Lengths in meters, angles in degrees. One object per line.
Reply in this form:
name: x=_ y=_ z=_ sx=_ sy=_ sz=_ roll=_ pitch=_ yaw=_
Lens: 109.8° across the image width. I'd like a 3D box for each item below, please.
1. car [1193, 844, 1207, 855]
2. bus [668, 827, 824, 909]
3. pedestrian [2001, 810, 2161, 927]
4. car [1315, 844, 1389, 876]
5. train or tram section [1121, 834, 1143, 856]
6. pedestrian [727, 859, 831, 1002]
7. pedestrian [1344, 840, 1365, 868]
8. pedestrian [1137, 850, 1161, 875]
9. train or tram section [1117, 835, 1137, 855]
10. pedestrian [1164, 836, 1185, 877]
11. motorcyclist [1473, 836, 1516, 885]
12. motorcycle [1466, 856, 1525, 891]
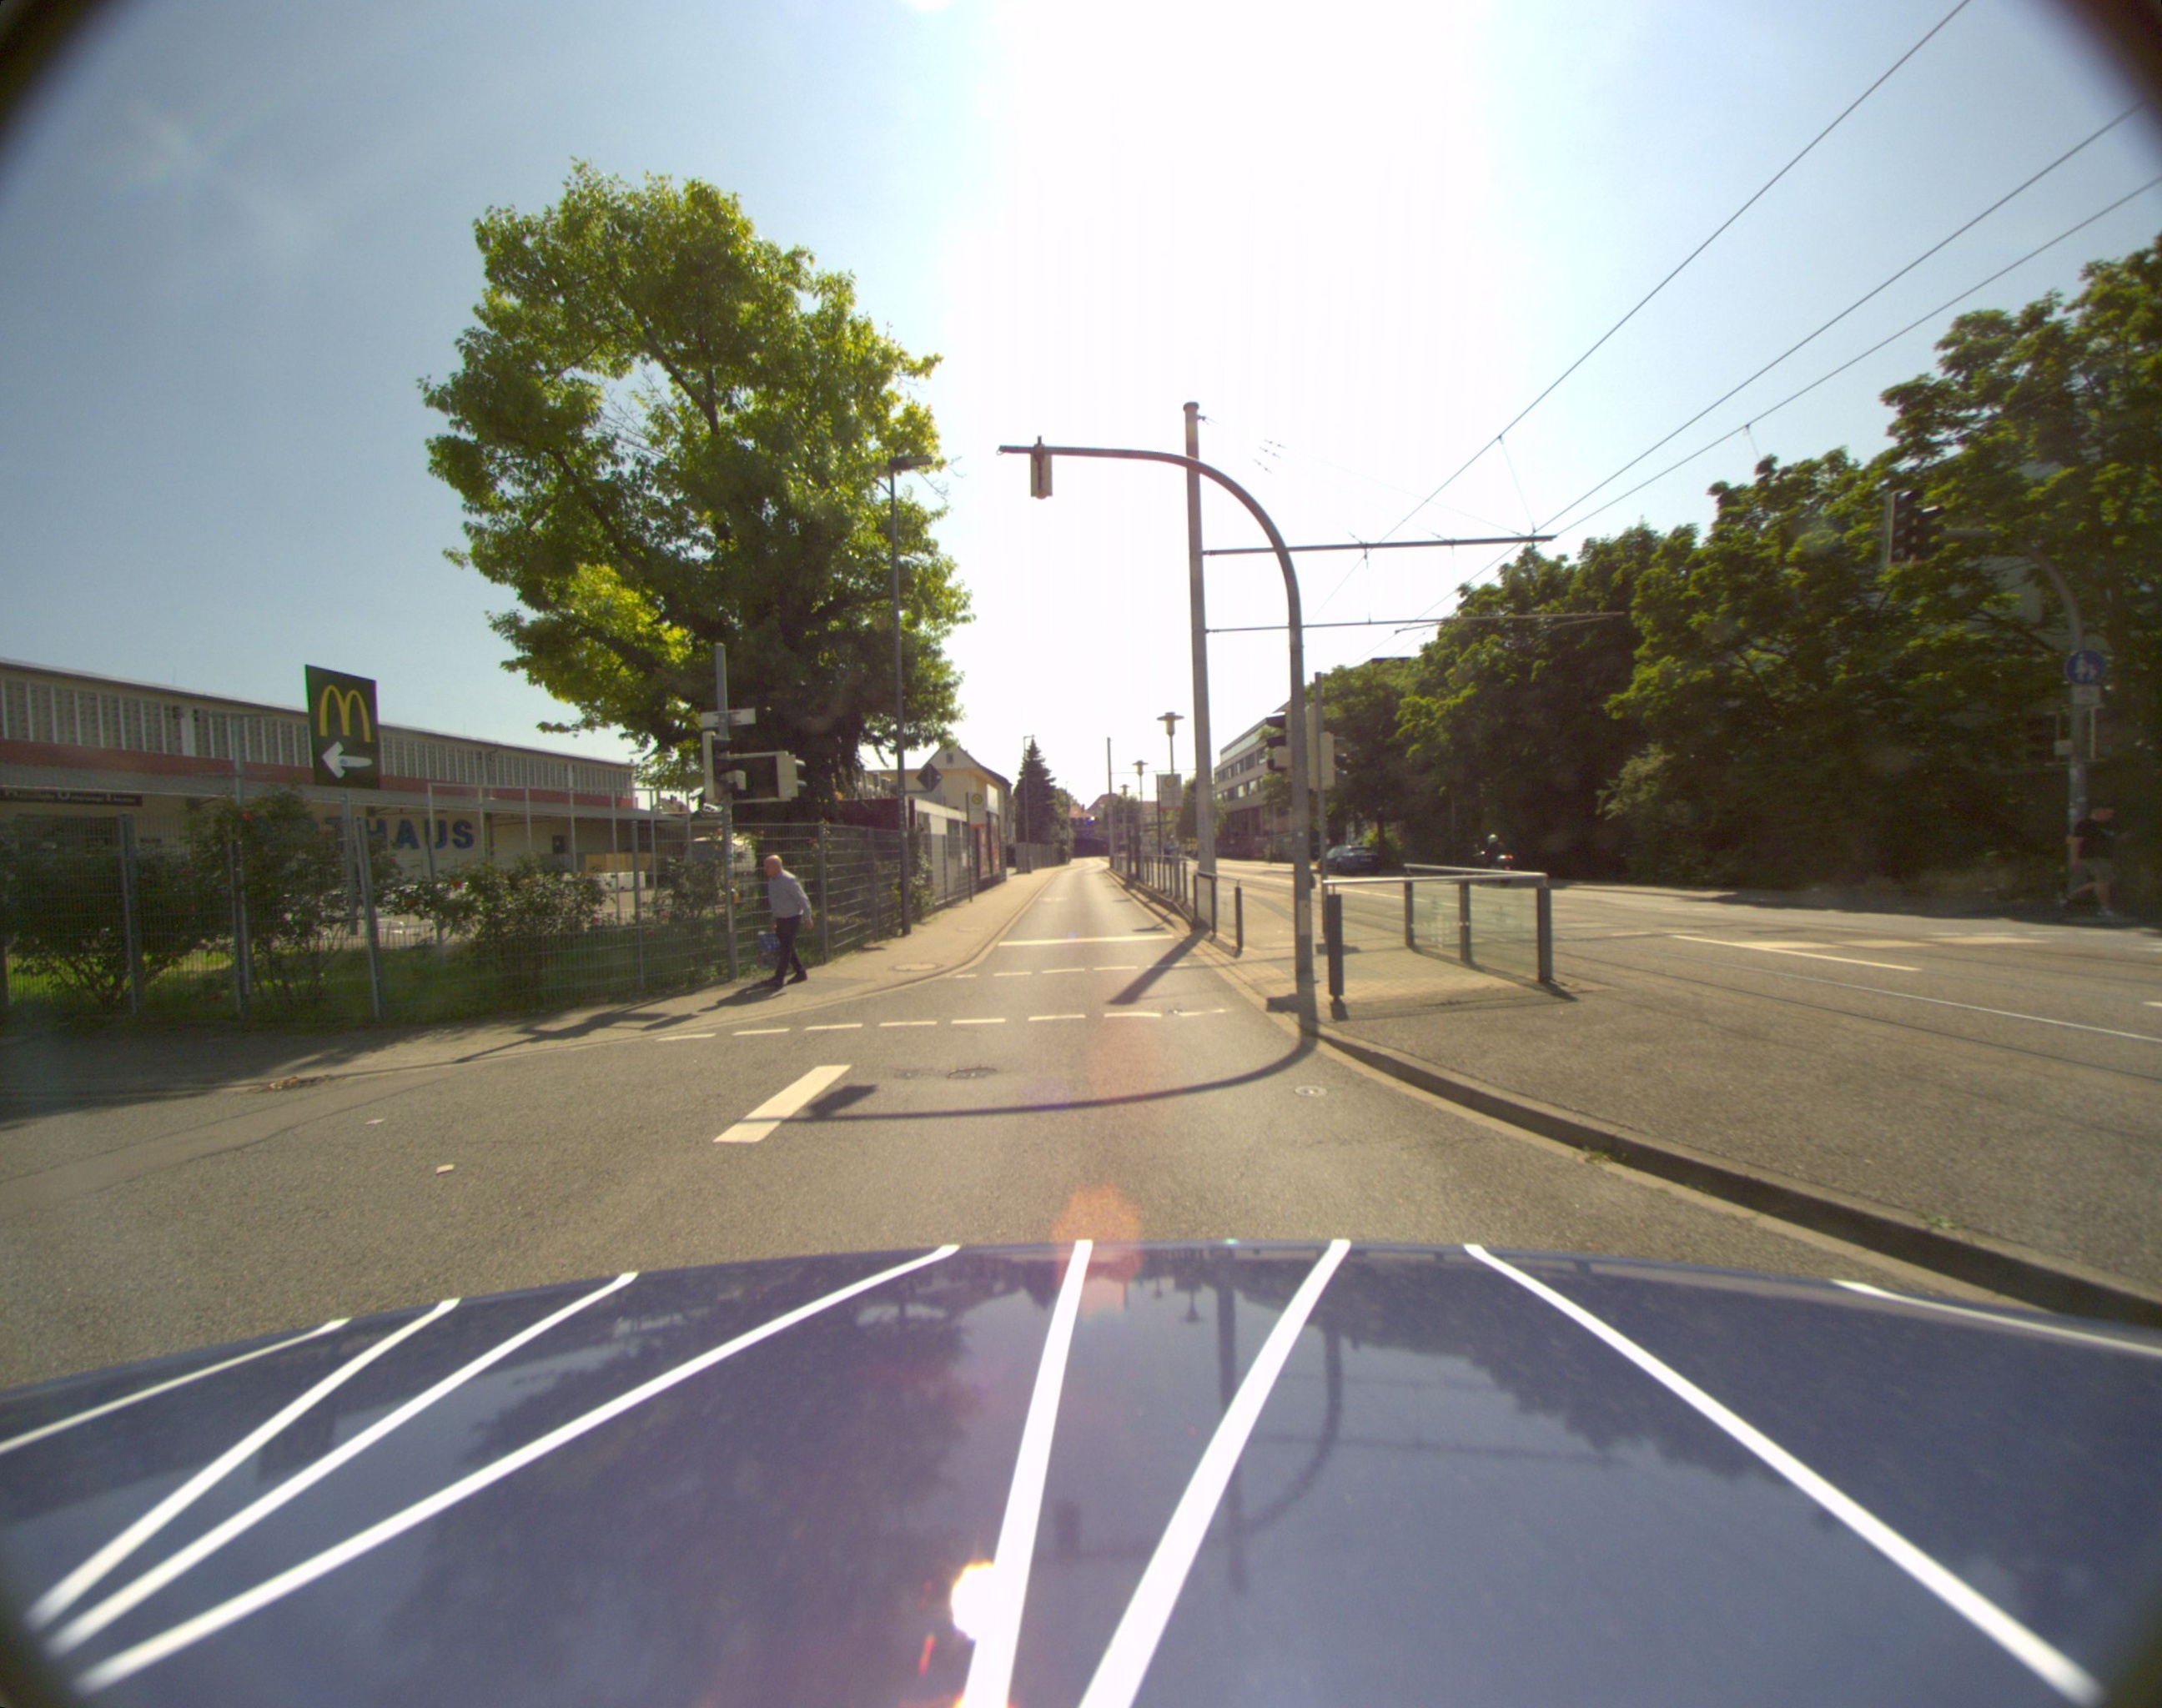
car: x=18.867 y=-0.681 z=120.297 sx=1.997 sy=1.613 sz=4.002 roll=-1 pitch=1 yaw=7
bus: x=-15.354 y=0.406 z=36.024 sx=2.572 sy=3.154 sz=10.264 roll=-2 pitch=3 yaw=1
pedestrian: x=15.485 y=0.202 z=11.811 sx=0.888 sy=1.661 sz=1.159 roll=-6 pitch=2 yaw=0
car: x=12.844 y=0.233 z=36.294 sx=1.911 sy=1.434 sz=4.595 roll=0 pitch=1 yaw=0
train or tram section: x=8.423 y=-1.463 z=126.936 sx=2.680 sy=3.464 sz=12.326 roll=-2 pitch=0 yaw=0
pedestrian: x=-3.797 y=0.920 z=9.605 sx=0.813 sy=1.689 sz=0.888 roll=-1 pitch=1 yaw=16
pedestrian: x=15.566 y=0.006 z=43.264 sx=0.873 sy=1.518 sz=0.846 roll=-2 pitch=1 yaw=-1
pedestrian: x=3.032 y=0.366 z=33.981 sx=0.945 sy=1.093 sz=0.726 roll=-2 pitch=1 yaw=-1
train or tram section: x=8.354 y=-1.573 z=139.653 sx=2.680 sy=3.464 sz=13.387 roll=-2 pitch=0 yaw=0
pedestrian: x=4.088 y=0.102 z=33.356 sx=0.726 sy=1.714 sz=0.944 roll=-3 pitch=0 yaw=0
motorcyclist: x=12.917 y=0.197 z=23.761 sx=0.837 sy=1.467 sz=0.963 roll=-2 pitch=1 yaw=2
motorcycle: x=12.940 y=0.585 z=23.809 sx=0.824 sy=1.005 sz=1.964 roll=-2 pitch=1 yaw=2
